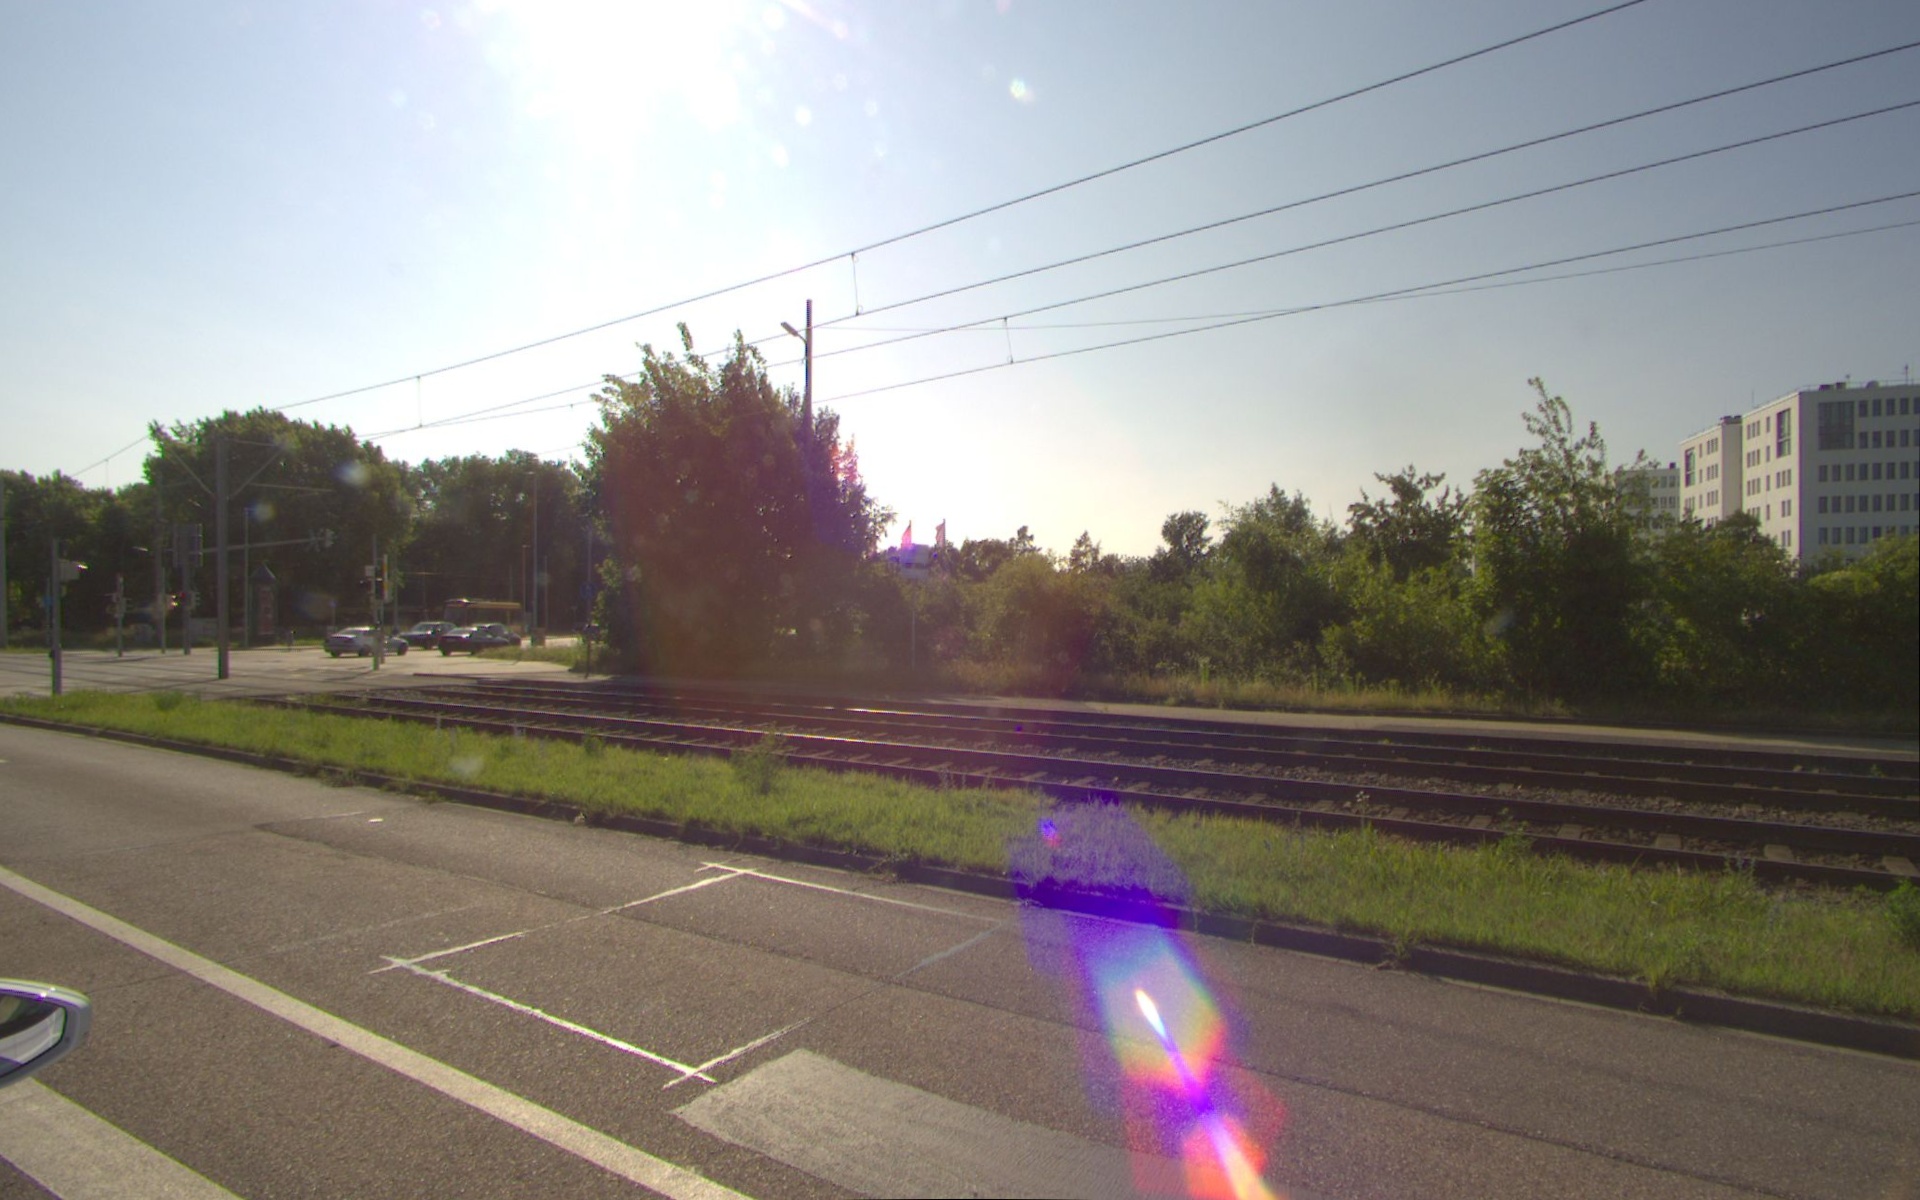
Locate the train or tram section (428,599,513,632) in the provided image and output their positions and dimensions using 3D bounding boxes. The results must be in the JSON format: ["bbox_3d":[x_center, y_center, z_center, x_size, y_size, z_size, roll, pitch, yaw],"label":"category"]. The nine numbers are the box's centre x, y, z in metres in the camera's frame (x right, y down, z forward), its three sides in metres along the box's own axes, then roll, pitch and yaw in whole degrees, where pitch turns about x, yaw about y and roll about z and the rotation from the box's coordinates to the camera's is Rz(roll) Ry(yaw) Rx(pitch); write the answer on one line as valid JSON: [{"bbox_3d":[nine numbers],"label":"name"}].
[{"bbox_3d":[-55.550,1.749,113.438,12.061,3.626,3.037,-1,-1,34],"label":"train or tram section"}]

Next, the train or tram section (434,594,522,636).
[{"bbox_3d":[-44.637,1.407,93.322,2.995,3.626,11.853,0,-1,-3],"label":"train or tram section"}]

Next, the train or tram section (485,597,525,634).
[{"bbox_3d":[-47.643,1.630,104.607,3.009,3.626,12.174,0,-1,-28],"label":"train or tram section"}]

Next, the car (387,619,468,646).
[{"bbox_3d":[-31.884,1.927,60.122,2.005,1.583,4.863,0,-1,5],"label":"car"}]

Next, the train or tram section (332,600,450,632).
[{"bbox_3d":[-66.494,1.888,117.217,11.992,3.626,3.054,0,-1,-1],"label":"train or tram section"}]

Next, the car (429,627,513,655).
[{"bbox_3d":[-25.706,2.121,52.792,1.961,1.371,4.408,0,-1,6],"label":"car"}]

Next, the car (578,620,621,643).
[{"bbox_3d":[-27.237,2.357,75.784,1.961,1.686,4.633,0,-1,-6],"label":"car"}]

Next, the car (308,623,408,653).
[{"bbox_3d":[-29.640,1.849,49.469,1.961,1.371,4.409,0,-1,7],"label":"car"}]

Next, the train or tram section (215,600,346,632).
[{"bbox_3d":[-78.207,1.864,115.616,12.027,3.626,3.045,0,-1,-22],"label":"train or tram section"}]

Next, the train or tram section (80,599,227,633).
[{"bbox_3d":[-88.971,1.762,110.802,12.249,3.626,3.041,0,-1,-27],"label":"train or tram section"}]
